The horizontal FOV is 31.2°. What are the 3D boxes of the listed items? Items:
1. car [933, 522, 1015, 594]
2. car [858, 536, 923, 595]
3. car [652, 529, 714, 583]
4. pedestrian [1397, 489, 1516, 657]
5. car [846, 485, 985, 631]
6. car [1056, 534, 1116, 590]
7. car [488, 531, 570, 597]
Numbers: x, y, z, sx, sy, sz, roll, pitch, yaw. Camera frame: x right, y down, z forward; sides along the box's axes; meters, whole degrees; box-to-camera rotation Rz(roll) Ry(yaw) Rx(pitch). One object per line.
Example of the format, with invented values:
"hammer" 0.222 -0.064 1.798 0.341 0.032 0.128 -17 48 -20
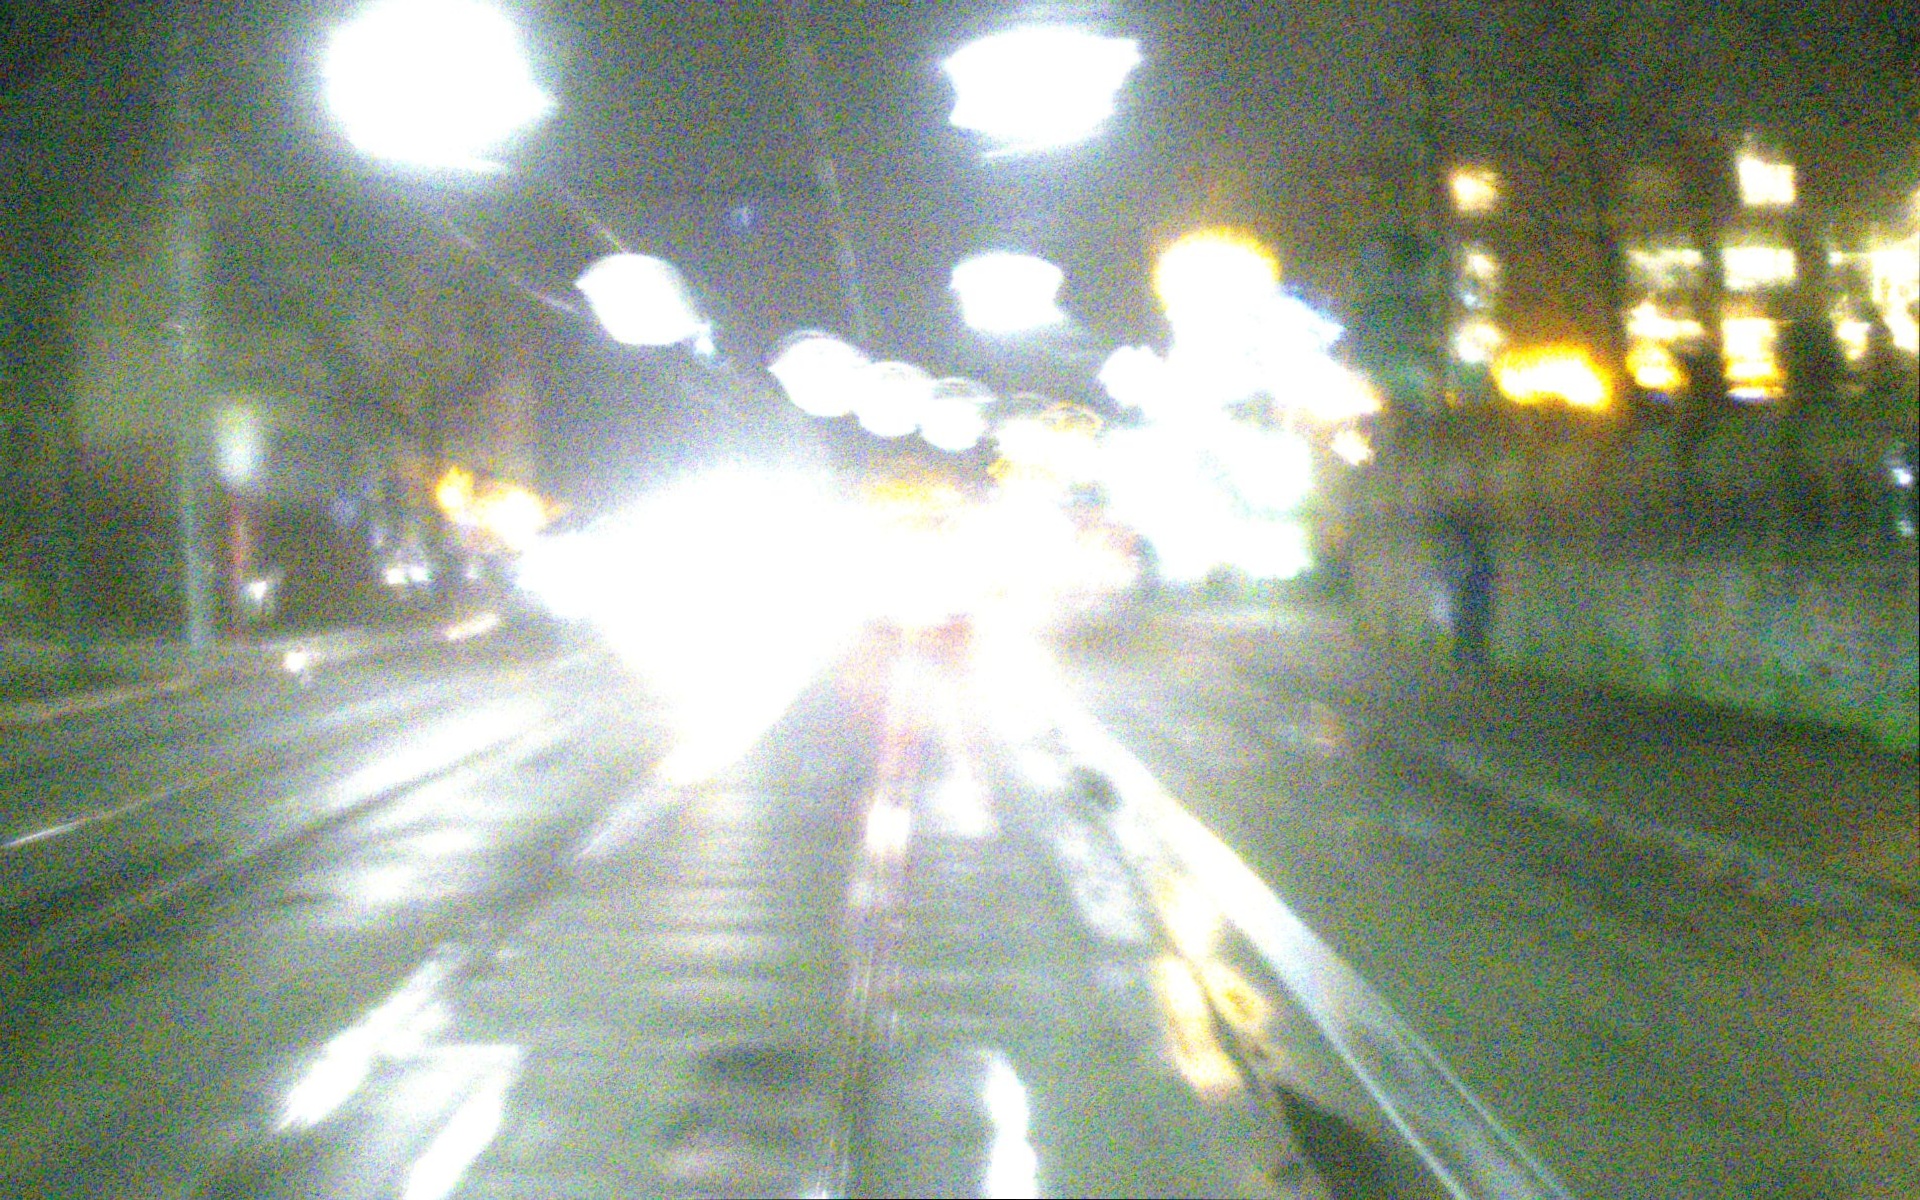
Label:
"car" 0.391 -1.097 89.508 2.016 1.809 4.000 0 1 2
"car" -2.178 -1.085 107.814 1.993 1.809 4.000 0 1 -1
"car" -9.139 -1.465 113.598 1.993 1.718 4.077 0 1 -4
"pedestrian" 5.085 -0.285 35.292 0.939 1.658 0.994 -3 1 -5
"car" -0.784 -0.718 57.944 2.244 2.353 4.394 0 1 -2
"car" 4.667 -1.421 127.317 1.993 2.007 4.000 0 1 -1
"car" -13.224 -1.120 105.733 1.993 2.007 4.000 0 1 0
